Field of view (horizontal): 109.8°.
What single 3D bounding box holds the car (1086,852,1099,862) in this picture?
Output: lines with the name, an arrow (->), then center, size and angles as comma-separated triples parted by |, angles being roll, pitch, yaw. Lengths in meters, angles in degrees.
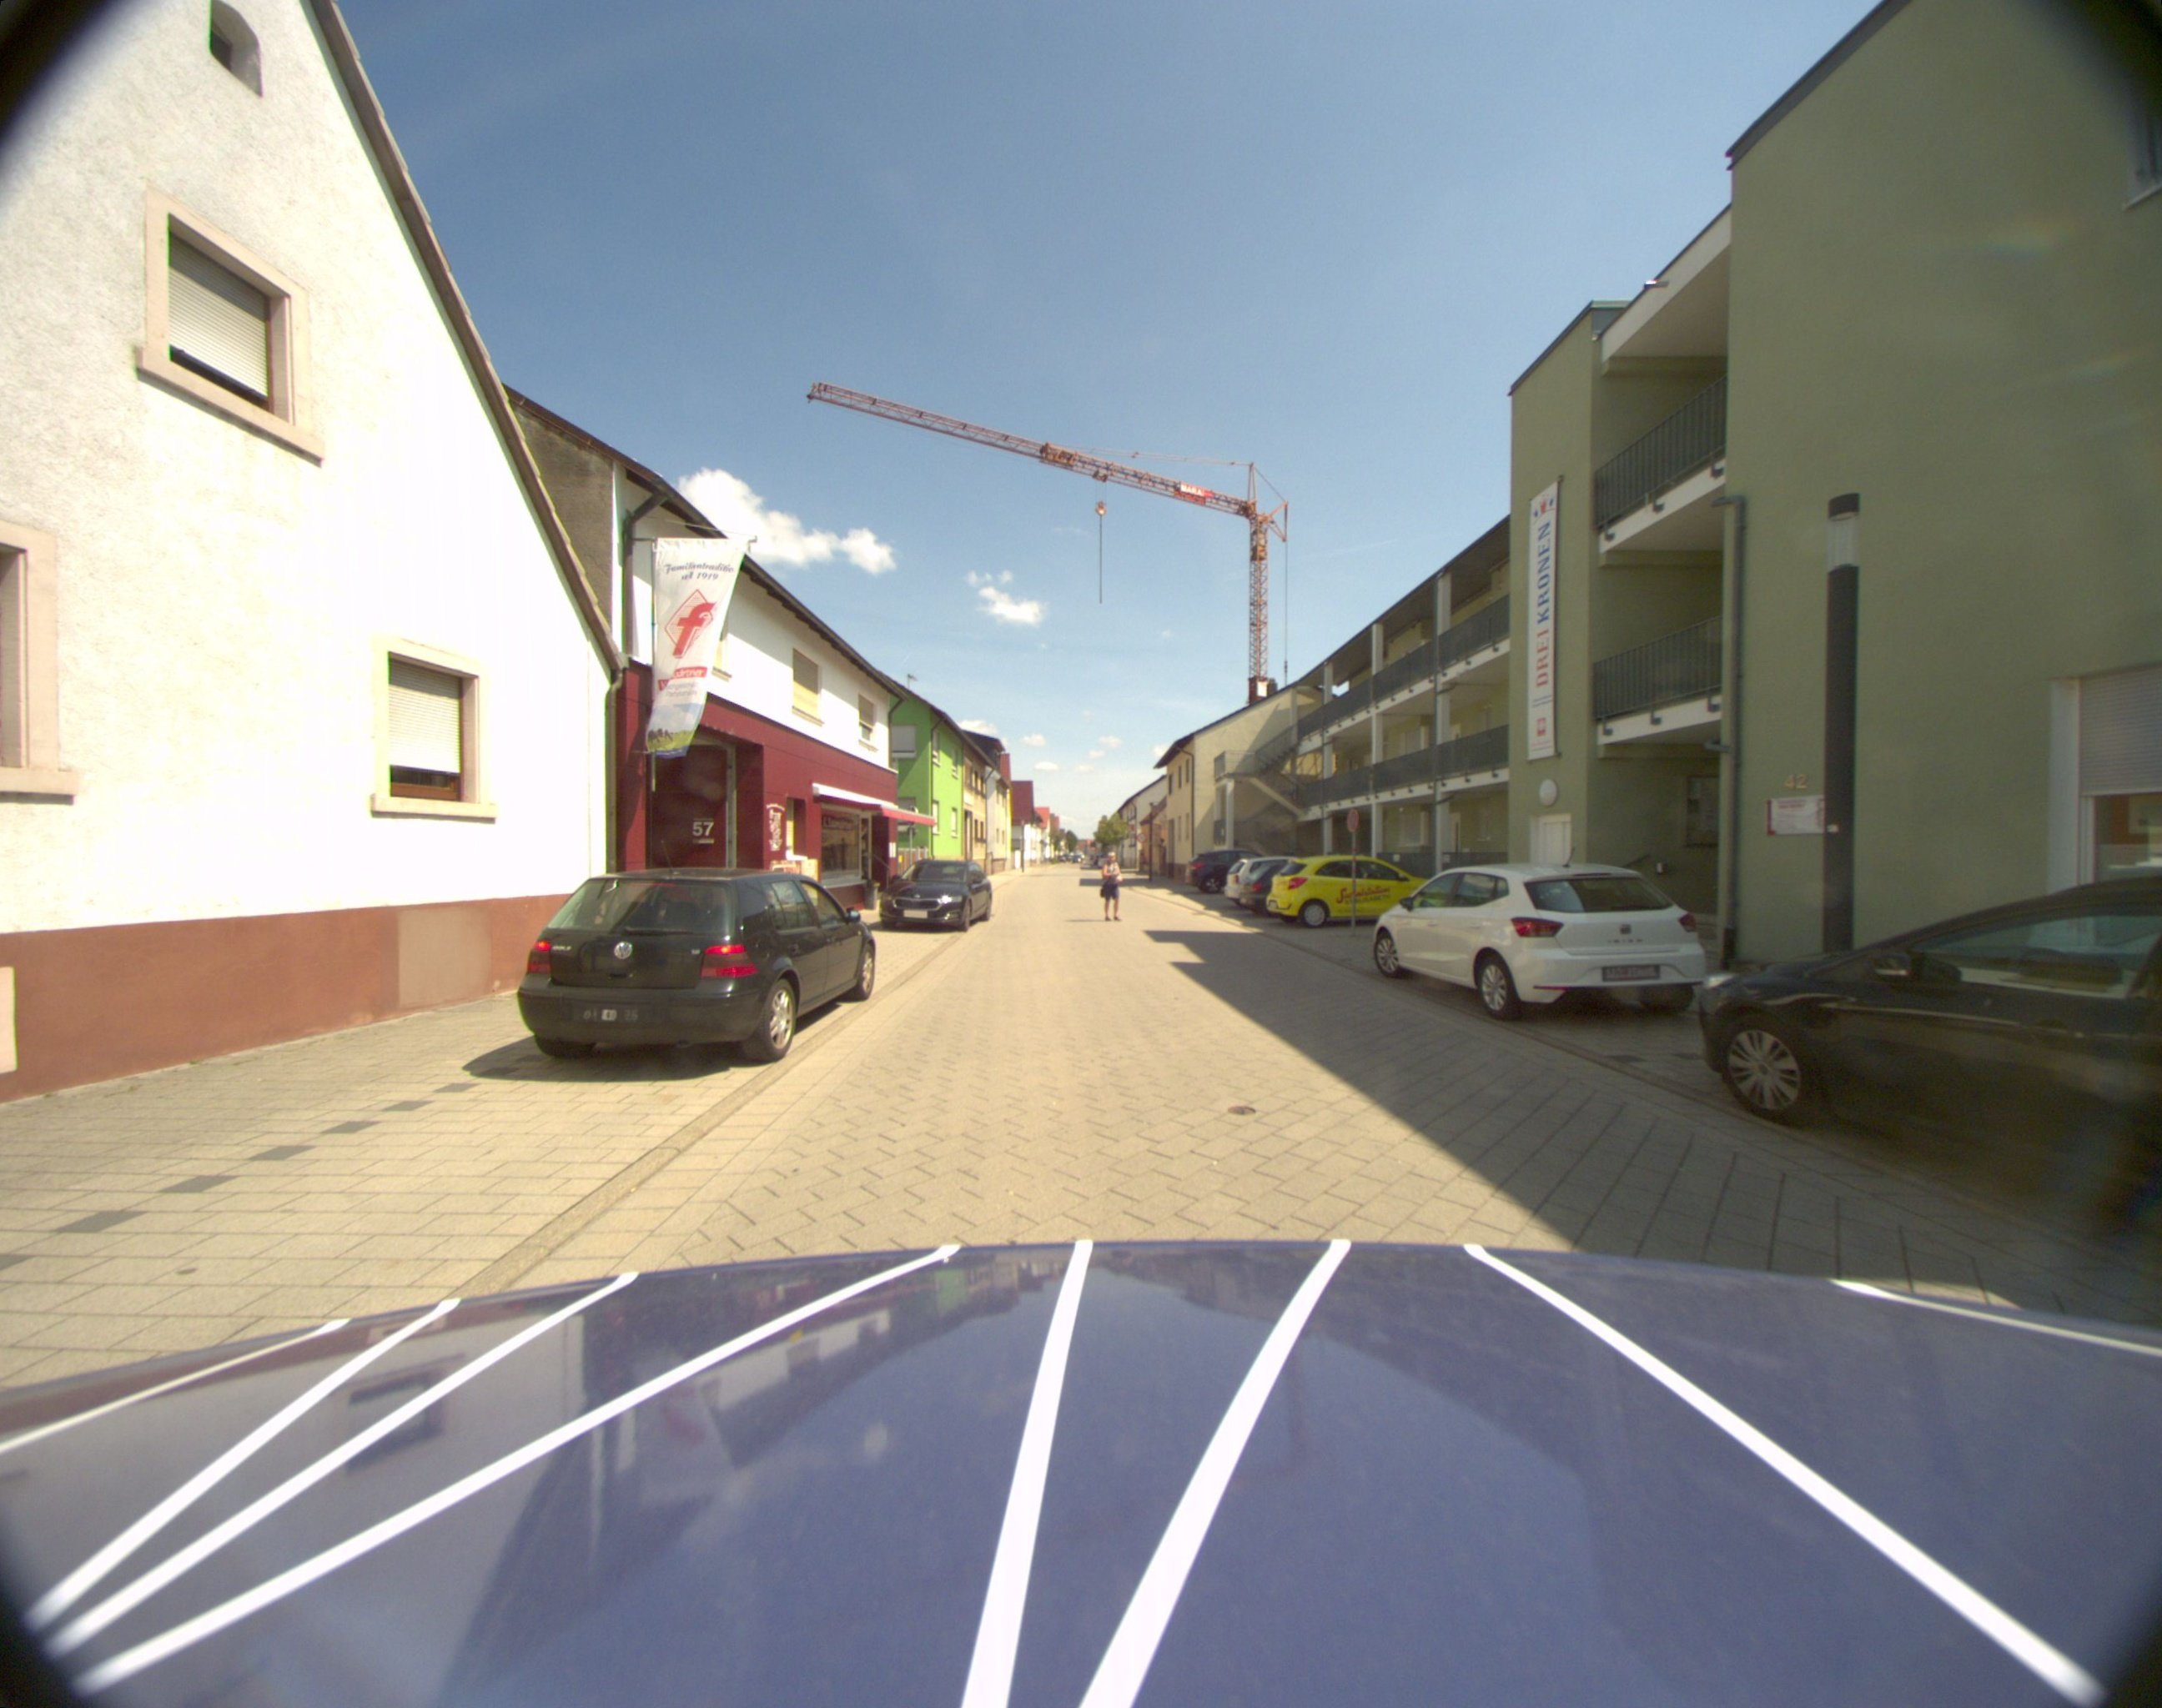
car -> 1.737, 0.434, 116.467 | 1.752, 1.557, 3.954 | 0, 0, -1

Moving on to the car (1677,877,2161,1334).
car -> 4.679, 0.917, 2.647 | 1.818, 1.482, 4.277 | -2, 0, 0

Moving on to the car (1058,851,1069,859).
car -> -3.115, 0.227, 136.058 | 1.726, 1.420, 3.818 | 0, 0, 1

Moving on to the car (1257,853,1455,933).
car -> 5.976, 0.816, 16.759 | 3.703, 1.516, 1.672 | -2, 0, -4

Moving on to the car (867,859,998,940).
car -> -3.130, 0.904, 17.012 | 1.862, 1.450, 4.586 | 2, 0, 2

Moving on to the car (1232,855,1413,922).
car -> 6.044, 0.841, 19.329 | 3.997, 1.433, 1.691 | -3, 1, 0

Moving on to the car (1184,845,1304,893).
car -> 6.243, 0.572, 29.454 | 4.229, 1.649, 1.784 | -2, 1, 0

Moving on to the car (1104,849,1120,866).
car -> 3.174, 0.344, 77.958 | 1.576, 1.552, 2.822 | -2, 1, 2

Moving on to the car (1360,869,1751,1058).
car -> 4.619, 0.941, 8.193 | 1.762, 1.402, 3.877 | -2, 0, 0

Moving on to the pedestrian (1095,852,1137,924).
pedestrian -> 0.815, 0.782, 17.962 | 0.749, 1.630, 0.731 | -2, 1, -17

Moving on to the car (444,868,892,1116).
car -> -3.099, 0.909, 6.818 | 1.764, 1.430, 4.119 | 1, 0, 0

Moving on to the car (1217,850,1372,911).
car -> 6.048, 0.734, 21.858 | 3.910, 1.494, 1.751 | -3, 0, 1

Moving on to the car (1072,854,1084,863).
car -> -0.565, 0.736, 131.523 | 1.958, 1.521, 4.000 | 0, 0, 1
